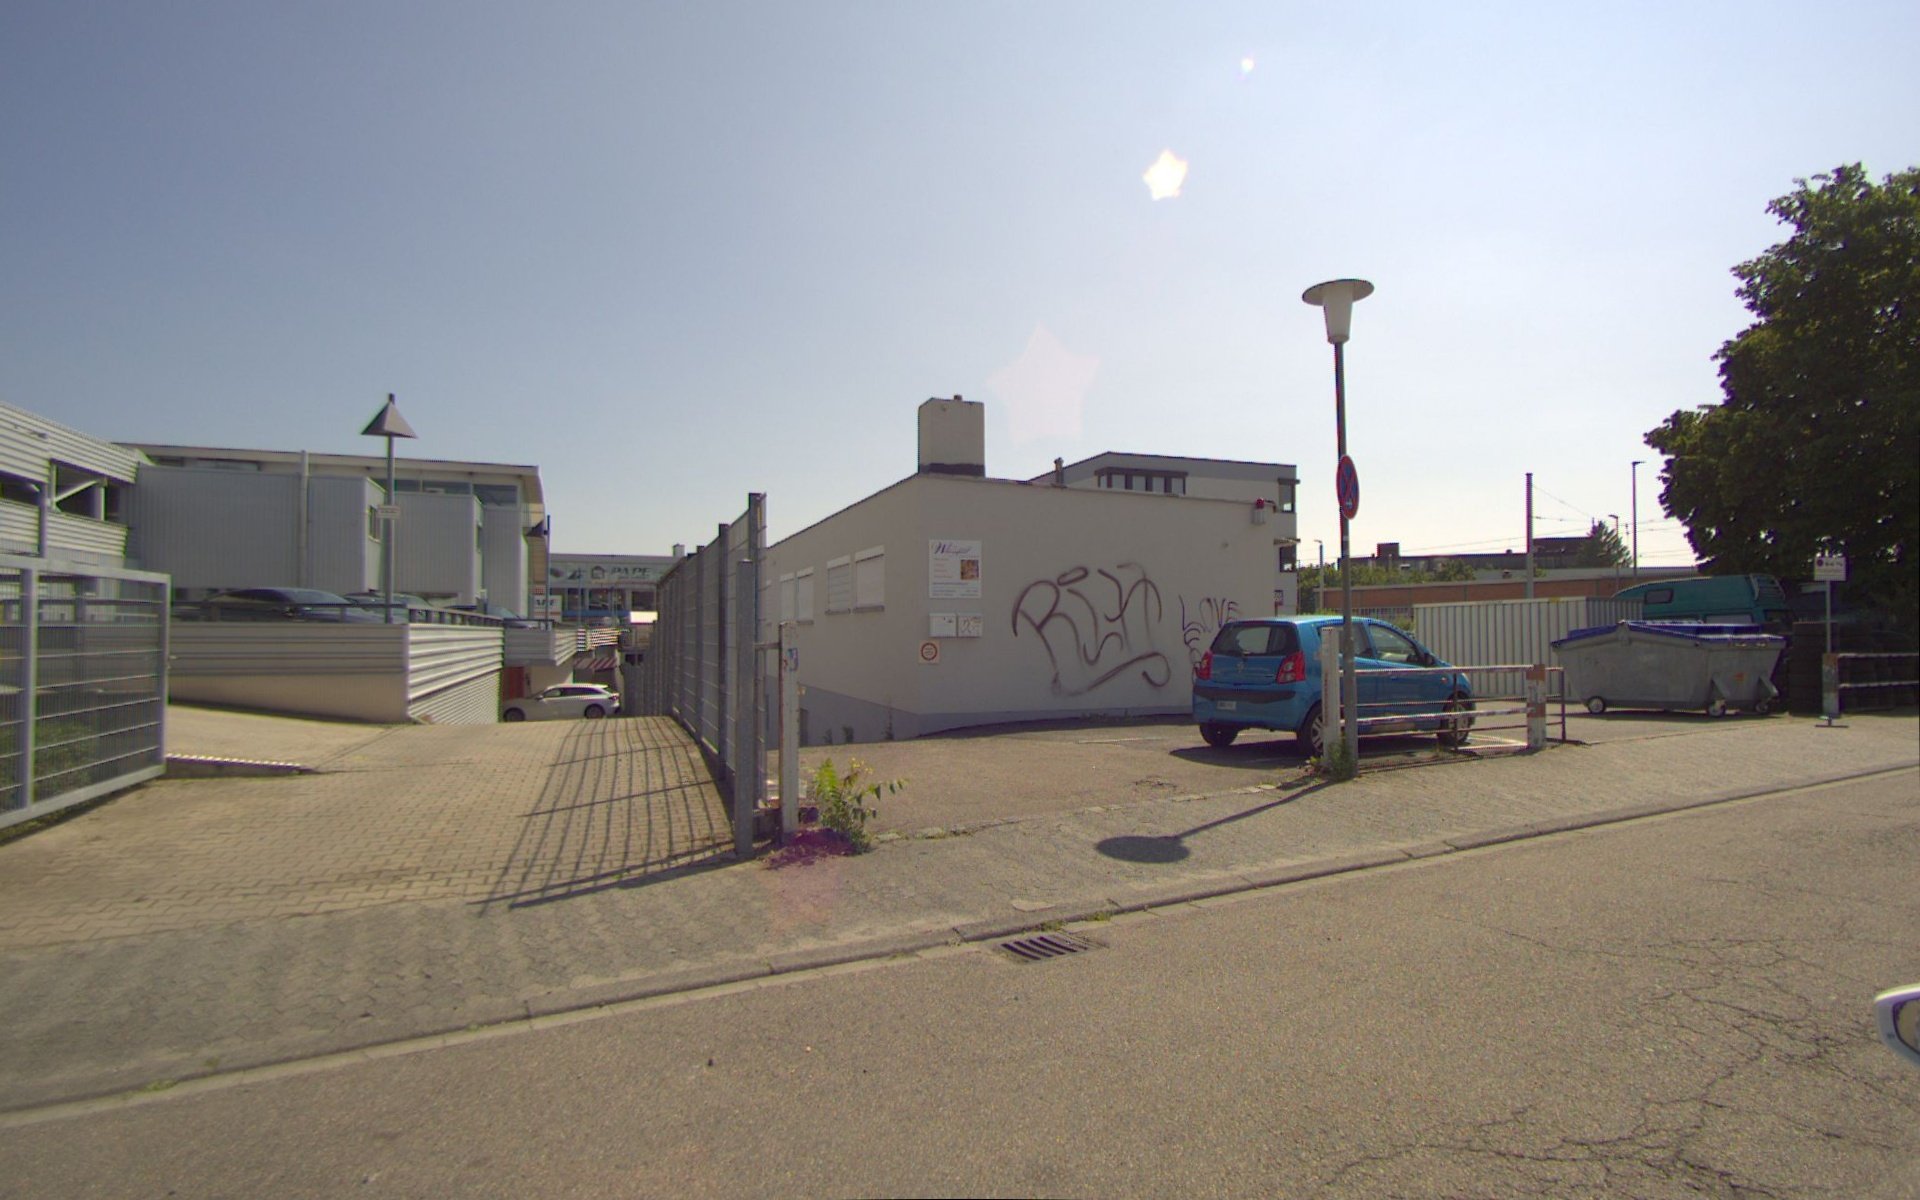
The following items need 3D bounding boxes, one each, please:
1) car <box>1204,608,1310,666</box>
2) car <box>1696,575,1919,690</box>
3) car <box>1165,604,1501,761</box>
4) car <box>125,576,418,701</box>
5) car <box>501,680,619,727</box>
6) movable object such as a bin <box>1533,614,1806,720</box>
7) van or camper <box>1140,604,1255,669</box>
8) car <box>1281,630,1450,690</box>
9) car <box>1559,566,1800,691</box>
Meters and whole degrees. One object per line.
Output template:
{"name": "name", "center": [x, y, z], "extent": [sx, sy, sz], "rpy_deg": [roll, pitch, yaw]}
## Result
{"name": "car", "center": [11.756, 1.497, 40.044], "extent": [1.971, 2.173, 3.980], "rpy_deg": [1, -3, -22]}
{"name": "car", "center": [20.568, 0.772, 24.332], "extent": [1.757, 2.546, 4.065], "rpy_deg": [1, -2, -31]}
{"name": "car", "center": [4.353, 0.877, 11.654], "extent": [3.634, 1.550, 1.805], "rpy_deg": [1, -3, -32]}
{"name": "car", "center": [-12.350, 0.726, 18.235], "extent": [3.920, 2.039, 2.001], "rpy_deg": [-1, -4, 1]}
{"name": "car", "center": [-15.482, 3.971, 38.890], "extent": [4.171, 1.548, 1.543], "rpy_deg": [1, -2, -25]}
{"name": "movable object such as a bin", "center": [11.460, 1.035, 16.354], "extent": [2.690, 1.530, 2.620], "rpy_deg": [1, -2, -24]}
{"name": "van or camper", "center": [9.143, 1.417, 39.169], "extent": [2.090, 2.354, 4.771], "rpy_deg": [0, -2, -20]}
{"name": "car", "center": [10.730, 1.565, 26.890], "extent": [1.730, 1.474, 4.130], "rpy_deg": [1, -2, -26]}
{"name": "car", "center": [16.054, 0.636, 22.634], "extent": [1.757, 2.546, 4.065], "rpy_deg": [1, -2, -31]}
